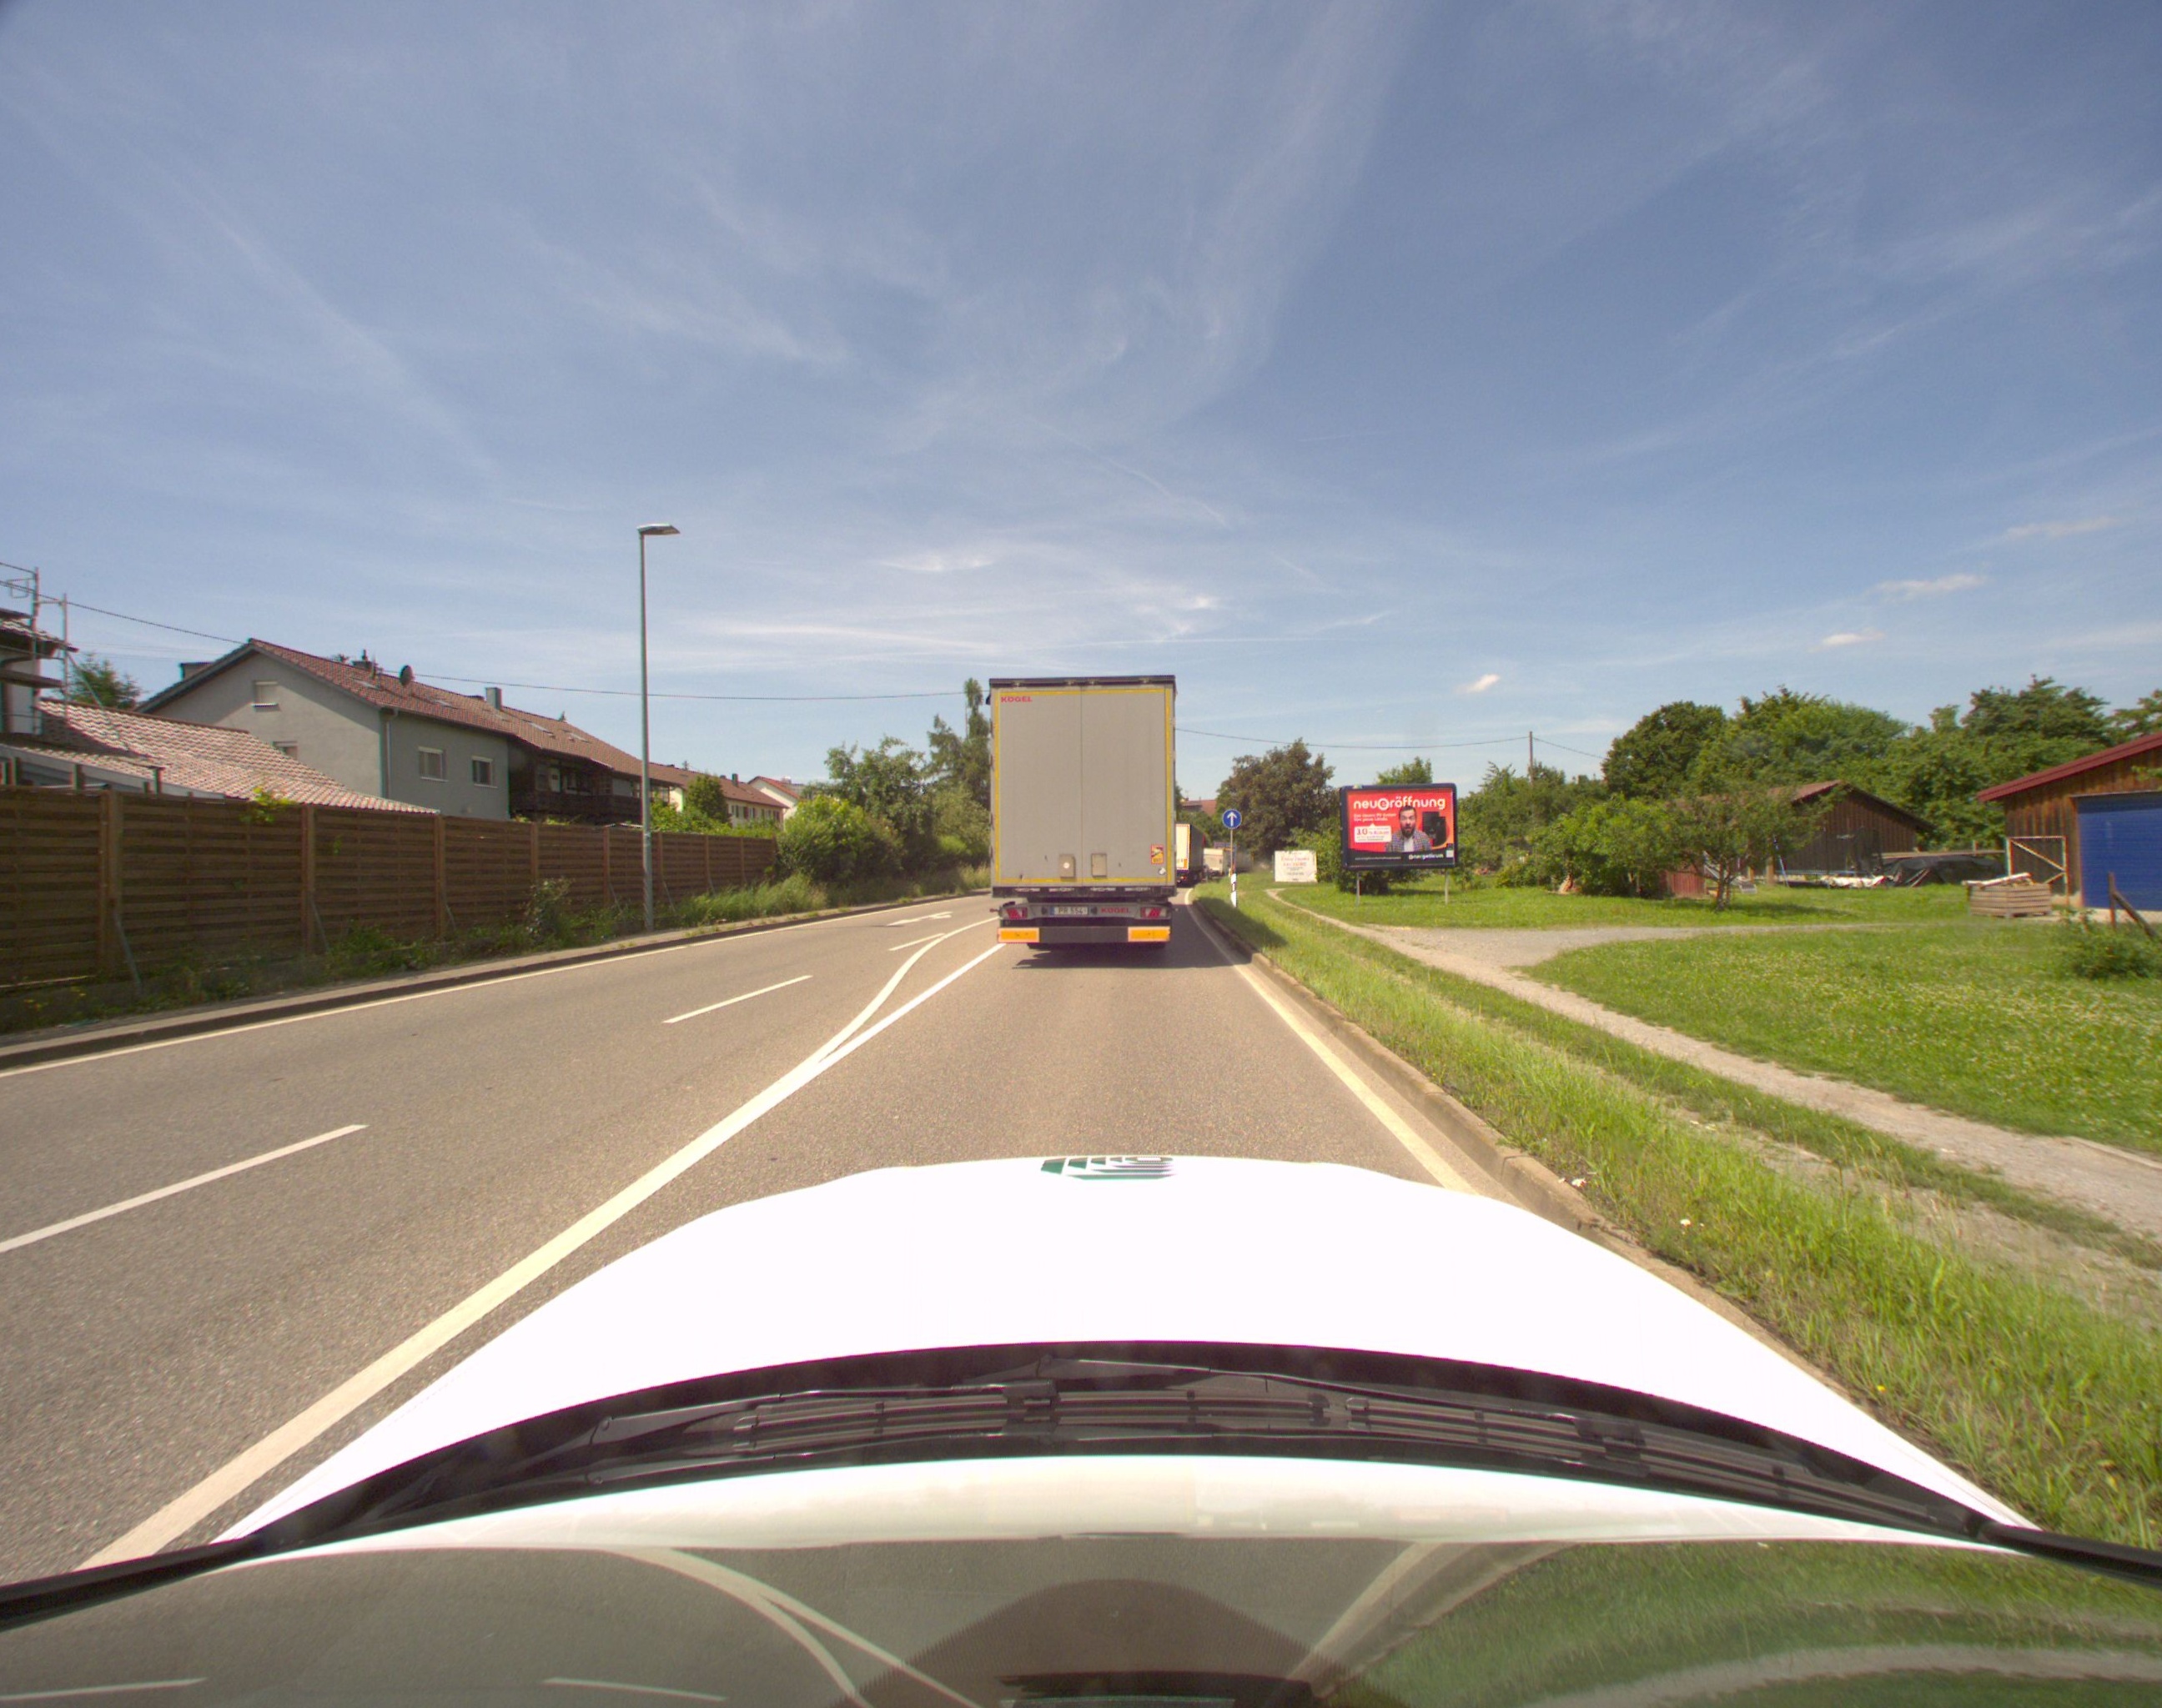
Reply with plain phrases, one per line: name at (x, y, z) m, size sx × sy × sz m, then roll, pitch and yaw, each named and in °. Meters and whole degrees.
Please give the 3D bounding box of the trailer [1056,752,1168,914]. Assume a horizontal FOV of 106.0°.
trailer at (1.059, -0.524, 24.076) m, size 2.812 × 4.111 × 6.552 m, roll -1°, pitch 0°, yaw 5°

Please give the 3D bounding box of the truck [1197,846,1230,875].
truck at (13.434, 0.721, 82.348) m, size 2.524 × 2.803 × 6.057 m, roll 0°, pitch -1°, yaw 16°

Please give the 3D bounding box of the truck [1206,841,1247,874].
truck at (16.670, 0.362, 92.619) m, size 3.406 × 3.604 × 9.395 m, roll -1°, pitch 0°, yaw 17°

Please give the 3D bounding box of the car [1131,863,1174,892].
car at (3.557, 1.136, 40.014) m, size 1.808 × 1.346 × 3.857 m, roll 0°, pitch -1°, yaw 9°

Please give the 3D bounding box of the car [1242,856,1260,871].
car at (23.008, 1.302, 109.898) m, size 1.978 × 2.014 × 4.018 m, roll -1°, pitch -1°, yaw 17°

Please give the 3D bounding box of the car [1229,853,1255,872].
car at (20.570, 1.056, 103.693) m, size 2.512 × 2.277 × 6.410 m, roll 0°, pitch 0°, yaw 18°

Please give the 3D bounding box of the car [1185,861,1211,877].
car at (10.741, 1.368, 74.749) m, size 1.979 × 1.376 × 4.015 m, roll 0°, pitch -1°, yaw 14°

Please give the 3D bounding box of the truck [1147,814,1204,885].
truck at (6.942, -0.105, 57.454) m, size 2.742 × 4.289 × 16.464 m, roll 0°, pitch -1°, yaw 11°

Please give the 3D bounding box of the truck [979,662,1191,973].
truck at (0.473, -0.478, 16.609) m, size 2.809 × 4.127 × 11.457 m, roll 0°, pitch 0°, yaw 4°
